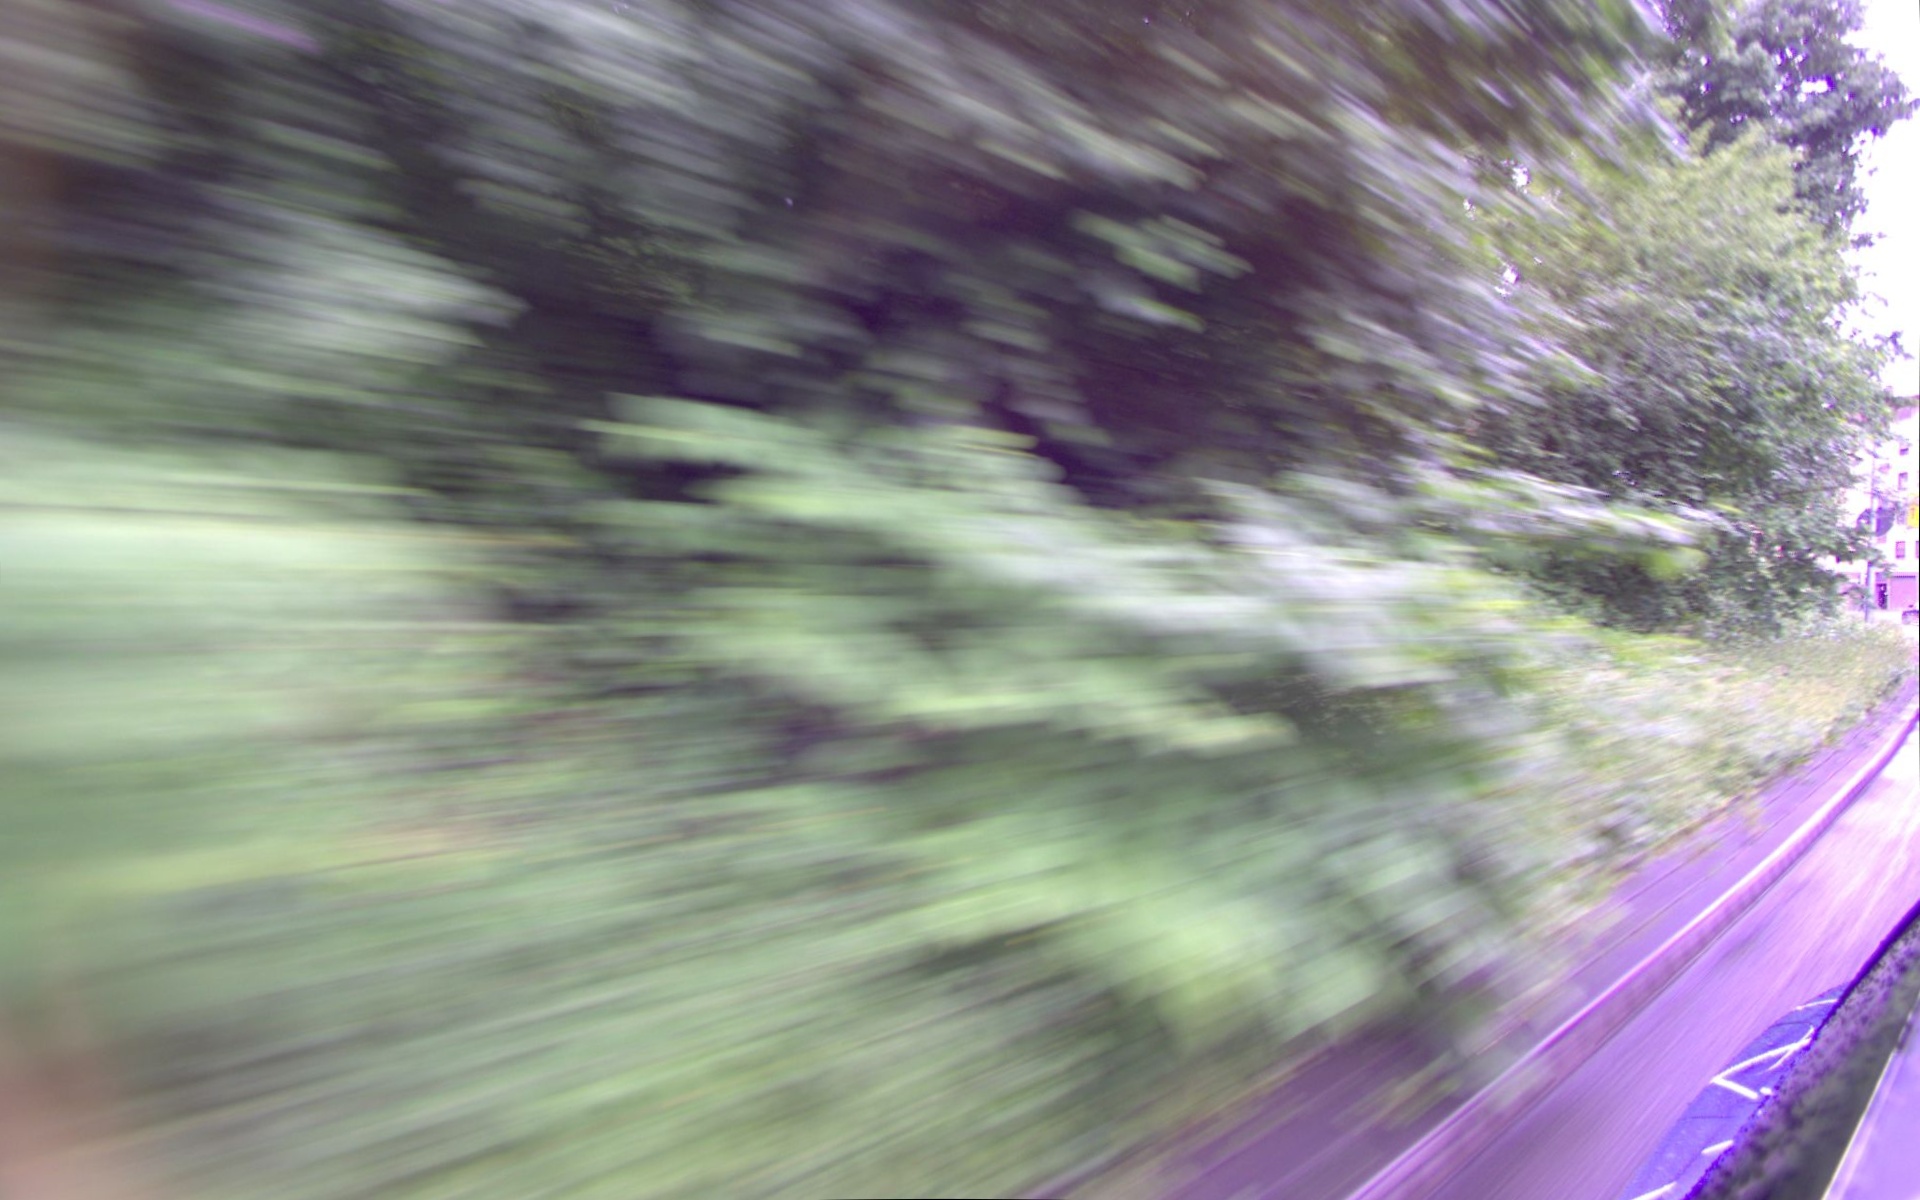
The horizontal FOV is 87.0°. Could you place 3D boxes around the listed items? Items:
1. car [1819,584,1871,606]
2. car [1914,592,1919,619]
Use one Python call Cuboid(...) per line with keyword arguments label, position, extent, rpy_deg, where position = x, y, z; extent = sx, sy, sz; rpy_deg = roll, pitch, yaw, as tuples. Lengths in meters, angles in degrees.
Cuboid(label="car", position=(64.330, -0.400, 73.618), extent=(1.774, 1.514, 4.177), rpy_deg=(3, 2, 27))
Cuboid(label="car", position=(50.857, 0.349, 51.827), extent=(1.781, 1.424, 4.578), rpy_deg=(2, 2, 29))
